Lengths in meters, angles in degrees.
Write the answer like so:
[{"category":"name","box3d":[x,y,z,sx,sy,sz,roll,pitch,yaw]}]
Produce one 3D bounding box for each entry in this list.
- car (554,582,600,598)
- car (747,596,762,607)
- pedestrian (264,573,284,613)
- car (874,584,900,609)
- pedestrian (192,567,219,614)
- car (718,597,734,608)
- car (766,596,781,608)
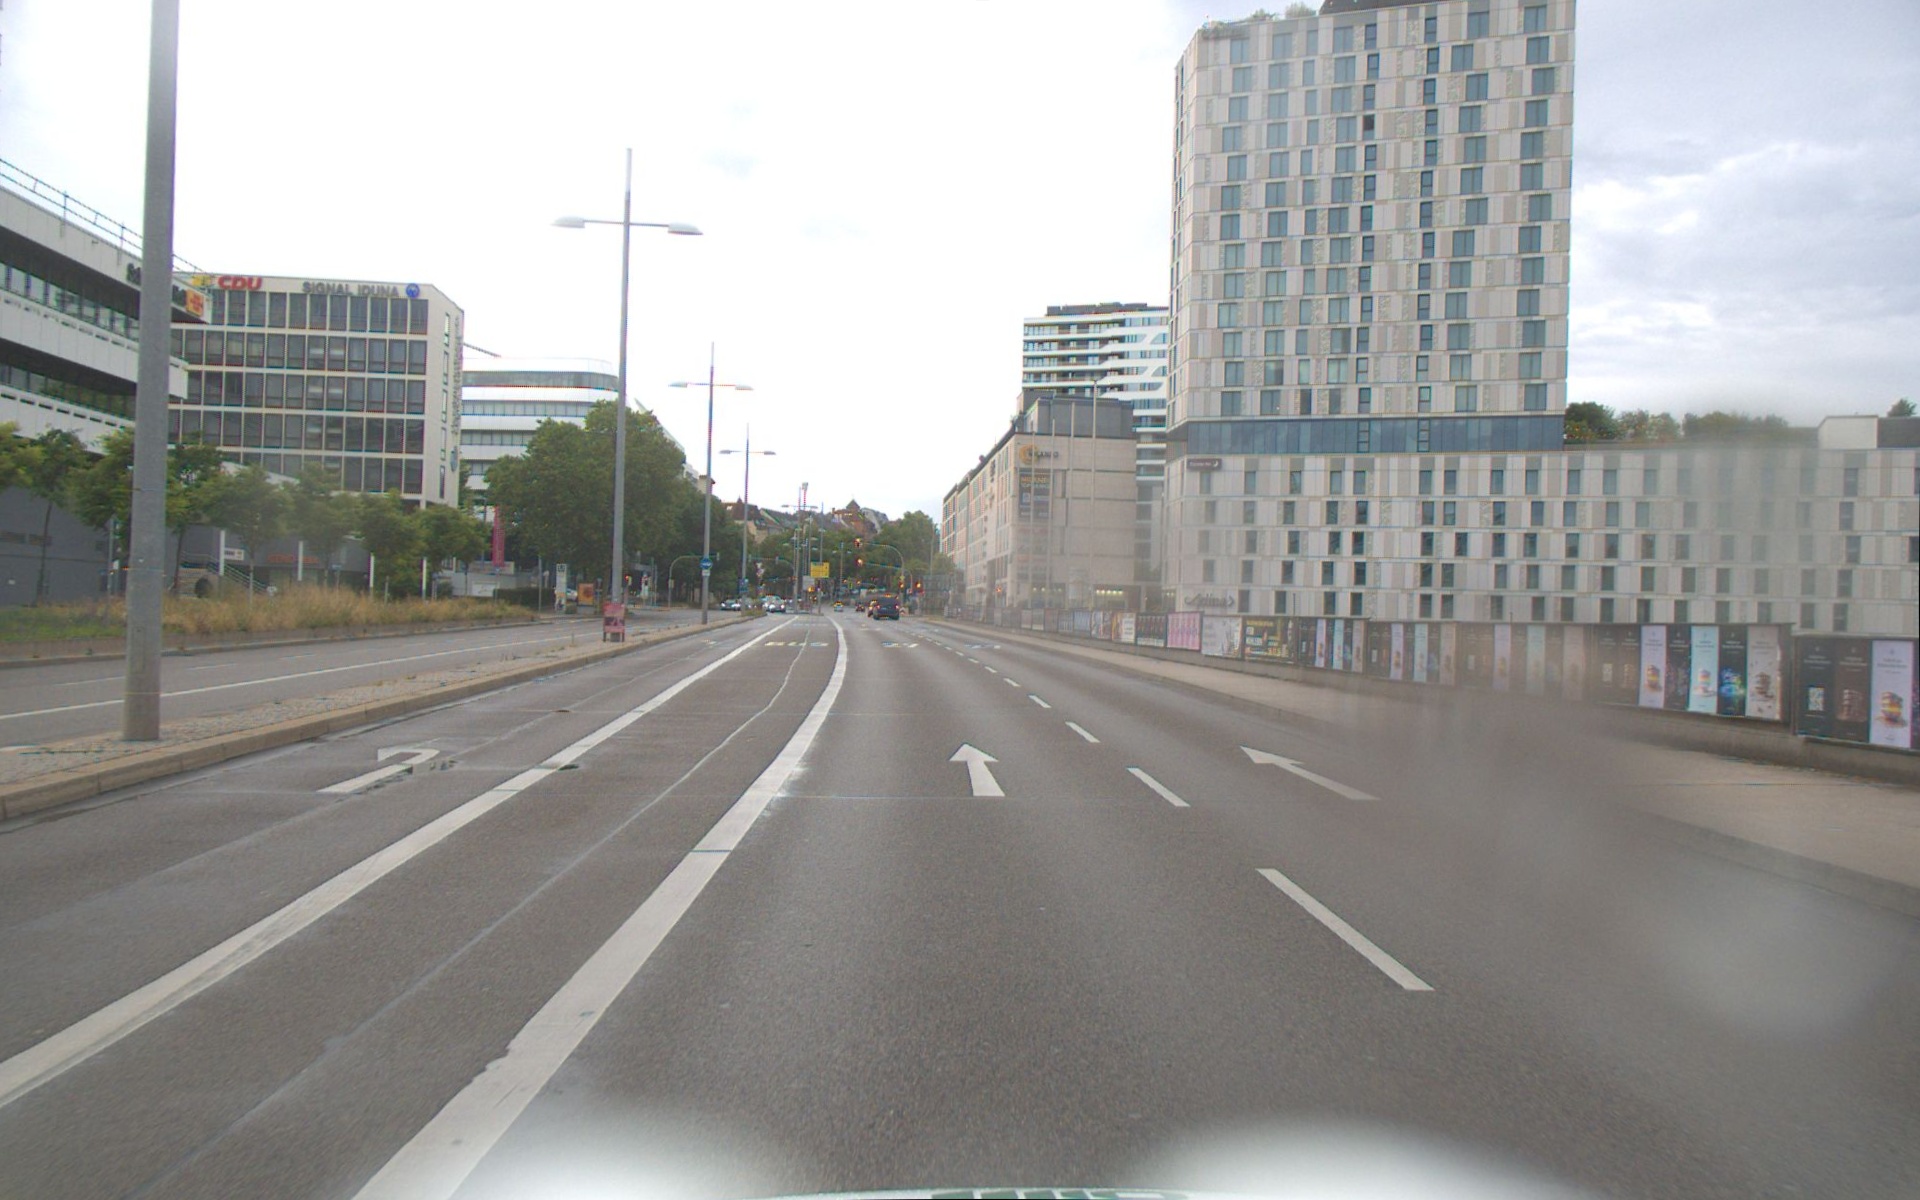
[{"category":"car","box3d":[-41.455,-1.126,178.948,4.405,1.660,1.896,1,-1,11]},{"category":"car","box3d":[-25.940,0.138,208.742,1.709,1.279,3.536,2,0,-5]},{"category":"pedestrian","box3d":[-31.614,-0.312,76.243,0.617,1.839,0.628,1,-1,-4]},{"category":"car","box3d":[-6.120,-0.313,138.501,1.993,1.915,5.037,-2,1,-4]},{"category":"pedestrian","box3d":[-29.826,-0.374,65.389,0.769,1.839,0.628,1,-1,-4]},{"category":"car","box3d":[-29.406,0.292,208.066,1.709,1.352,4.221,1,-1,-5]},{"category":"car","box3d":[-23.445,0.250,207.783,1.709,1.470,3.391,1,-1,-5]}]
